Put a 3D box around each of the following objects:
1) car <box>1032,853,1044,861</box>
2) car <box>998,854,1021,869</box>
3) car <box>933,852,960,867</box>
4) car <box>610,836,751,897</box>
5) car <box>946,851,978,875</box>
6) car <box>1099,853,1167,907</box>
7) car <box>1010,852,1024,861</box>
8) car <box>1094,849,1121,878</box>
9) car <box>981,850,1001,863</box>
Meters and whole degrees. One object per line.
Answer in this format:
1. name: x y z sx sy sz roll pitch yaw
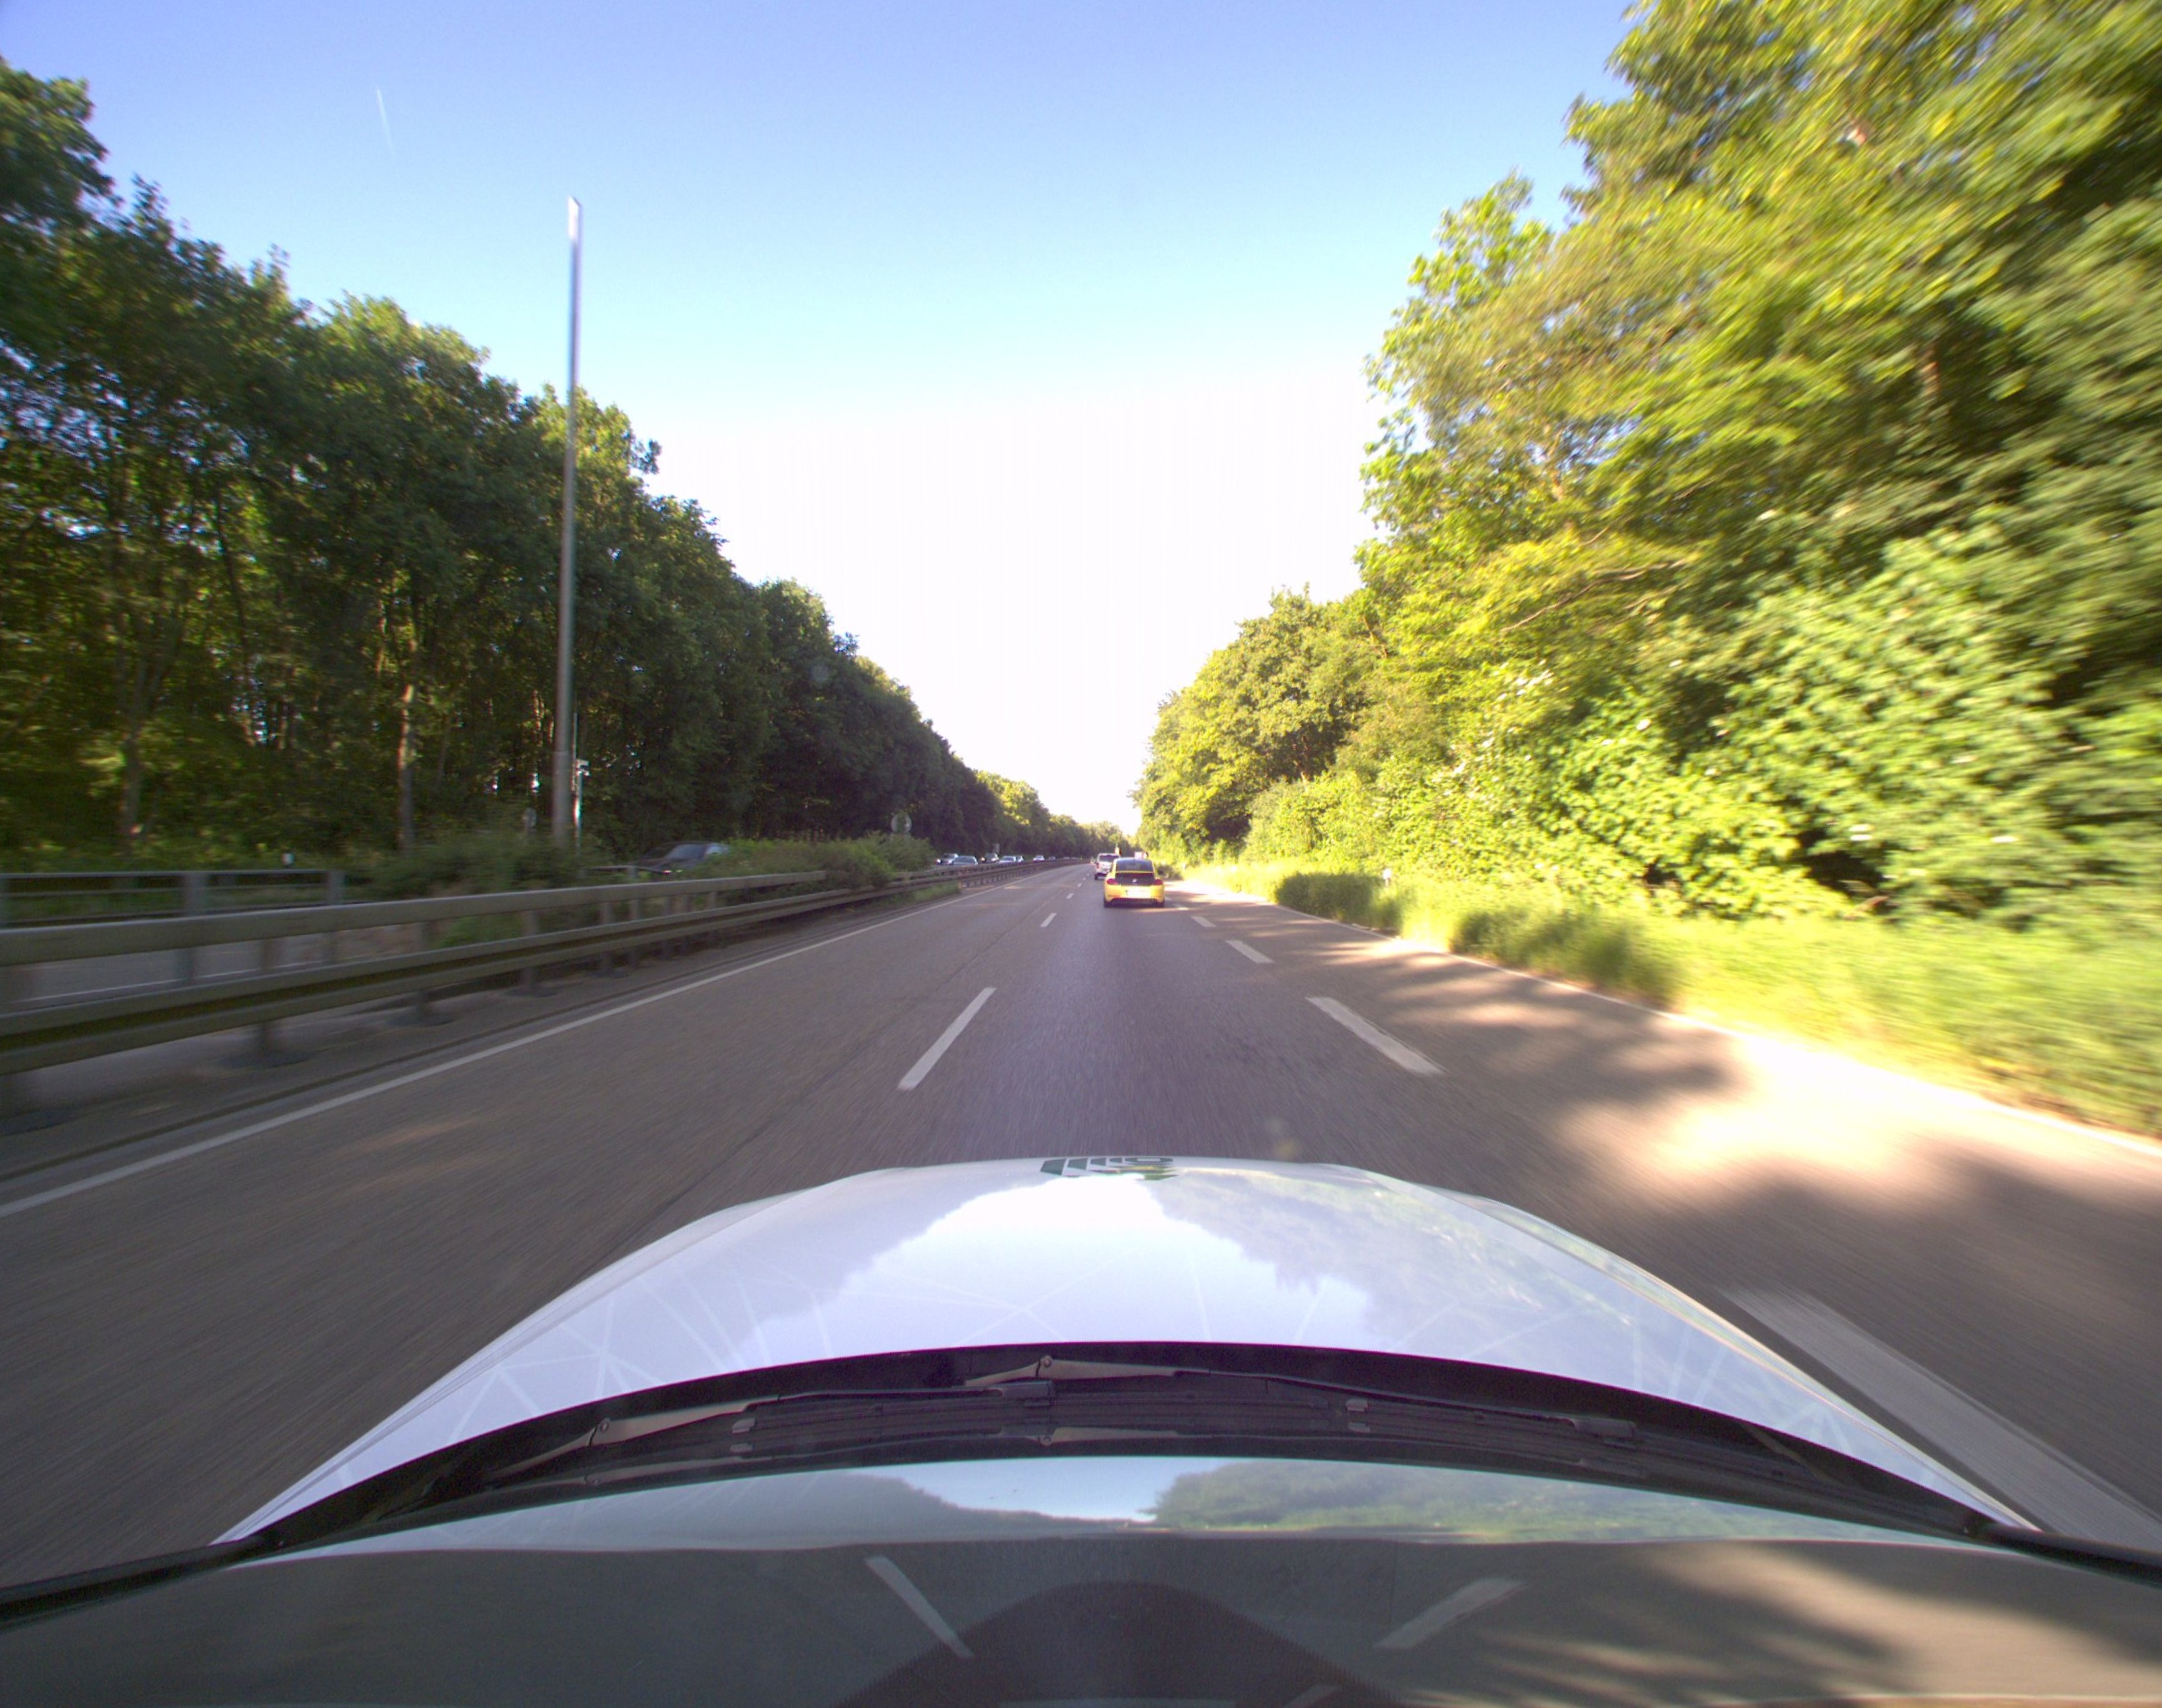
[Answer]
1. car: -8.813 0.694 167.567 1.984 1.623 4.796 0 -1 5
2. car: -7.978 0.824 90.923 1.986 1.560 4.709 0 -1 2
3. car: -14.637 0.570 88.999 1.986 1.600 4.709 0 -1 2
4. car: -10.654 0.321 22.013 1.743 1.497 3.944 0 -1 2
5. car: -9.274 0.694 63.666 1.781 1.860 4.001 0 -1 2
6. car: 1.632 0.753 24.854 1.930 1.508 3.427 0 -1 5
7. car: -10.720 0.447 136.857 1.986 1.486 4.001 0 -1 2
8. car: 1.755 0.622 54.225 1.735 1.830 3.423 0 0 1
9. car: -12.161 0.345 110.224 1.986 1.699 4.910 0 -1 2
